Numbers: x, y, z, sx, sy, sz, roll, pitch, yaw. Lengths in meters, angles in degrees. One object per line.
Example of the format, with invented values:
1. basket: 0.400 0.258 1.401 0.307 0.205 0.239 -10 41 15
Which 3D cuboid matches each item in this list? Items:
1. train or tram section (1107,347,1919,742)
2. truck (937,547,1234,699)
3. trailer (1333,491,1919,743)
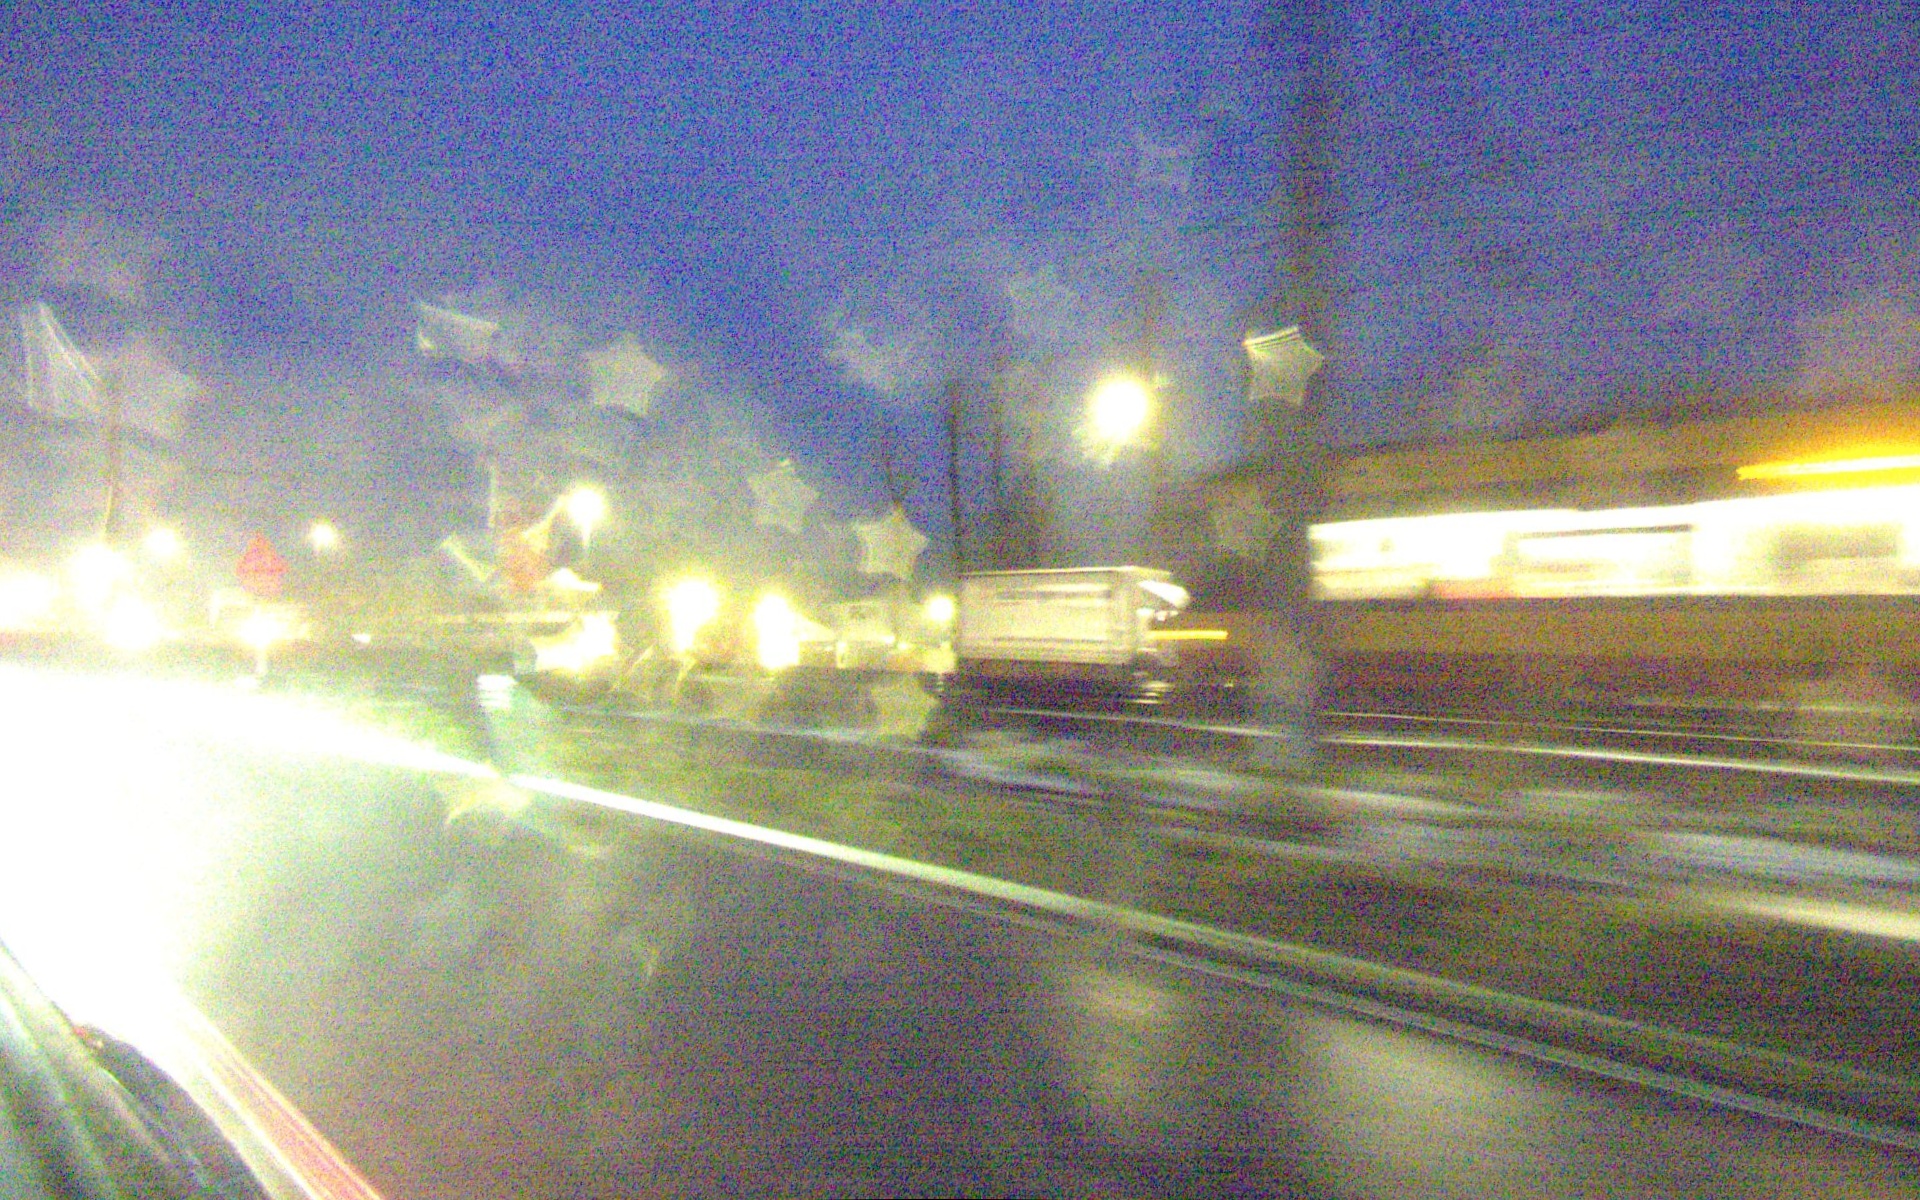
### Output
1. train or tram section: 17.201 -0.607 4.777 37.125 3.843 2.668 0 0 41
2. truck: 4.111 0.730 35.595 10.206 4.644 3.404 -1 0 41
3. trailer: 17.192 0.351 24.561 14.825 5.050 3.930 -1 0 41
